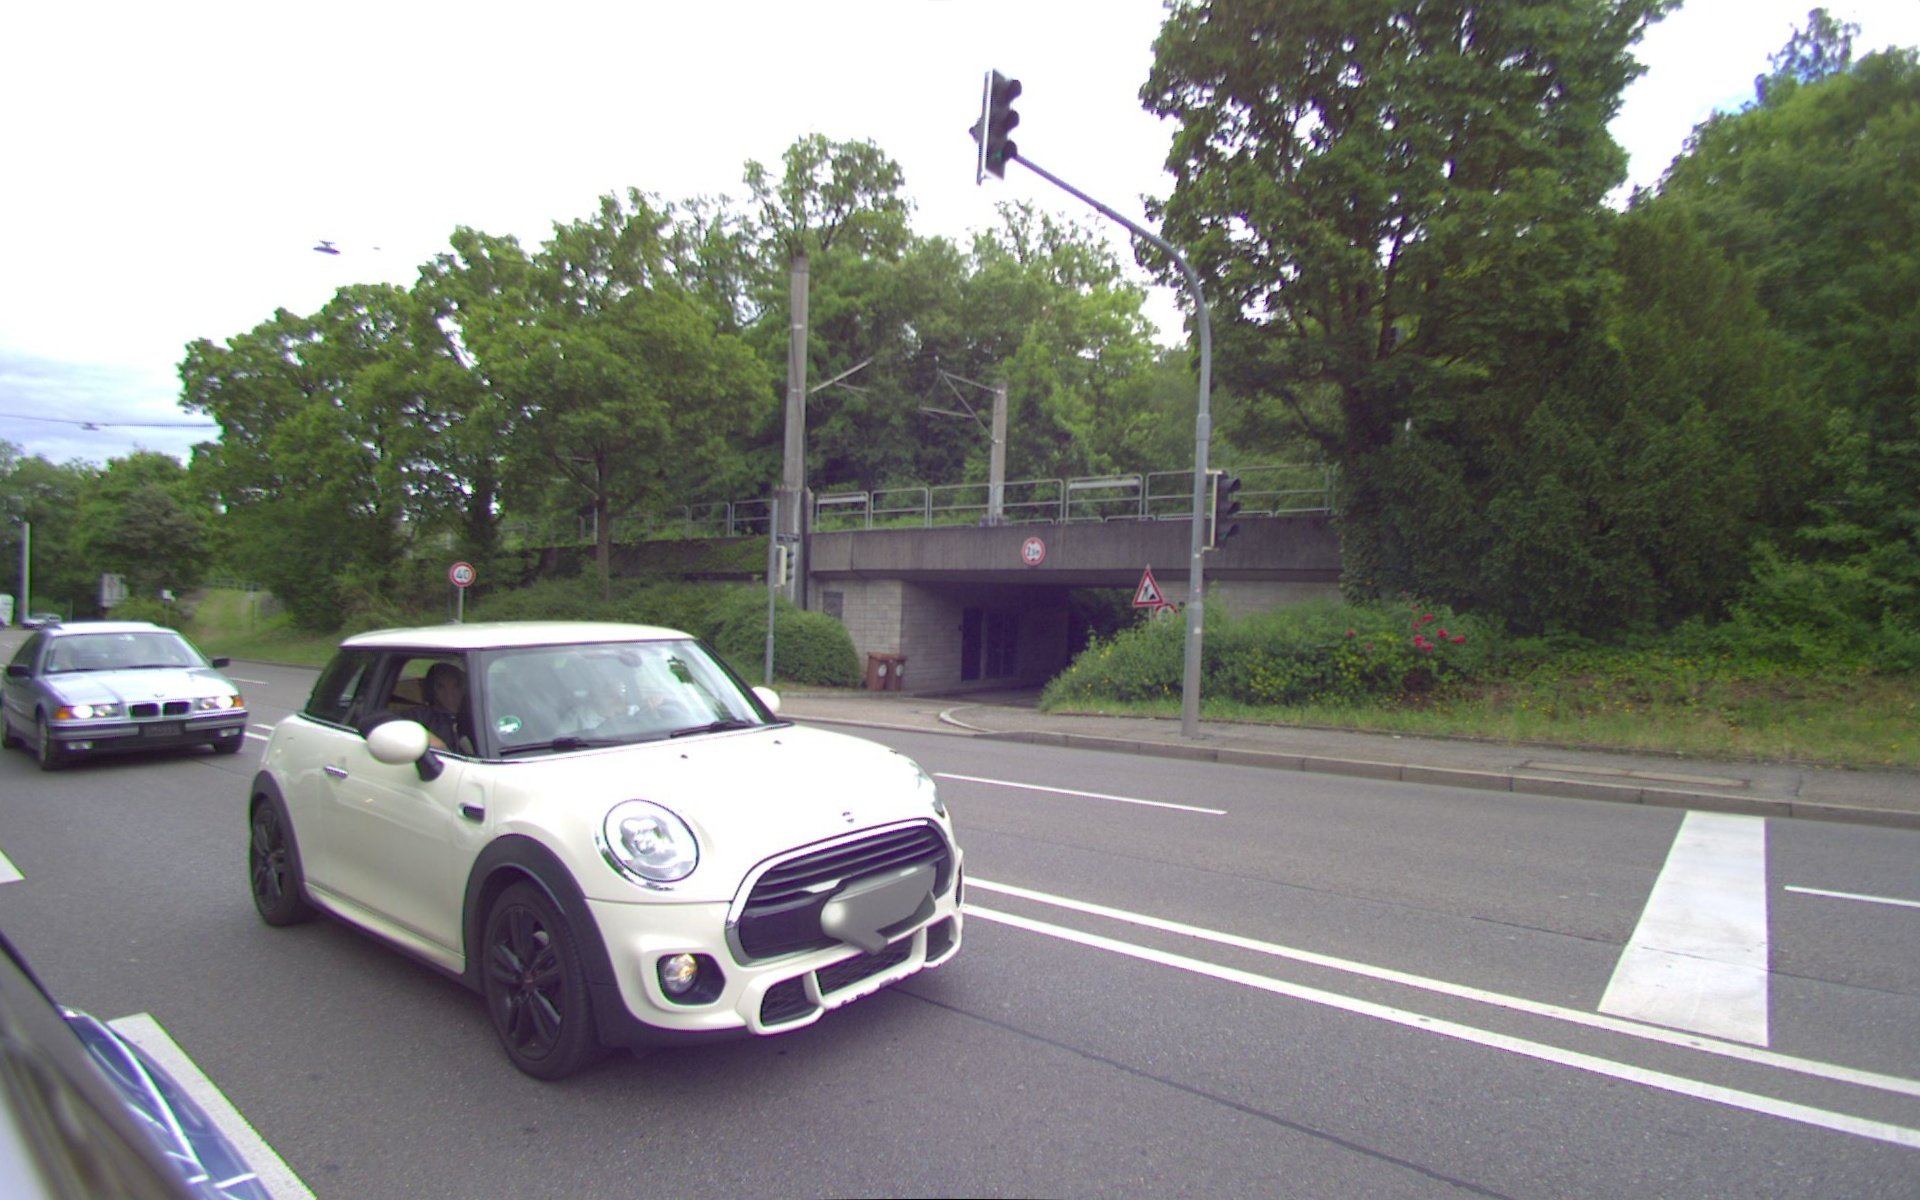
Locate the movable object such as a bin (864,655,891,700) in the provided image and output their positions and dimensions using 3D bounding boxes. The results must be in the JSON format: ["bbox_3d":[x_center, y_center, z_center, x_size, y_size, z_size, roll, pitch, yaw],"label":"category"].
[{"bbox_3d":[-2.023,1.889,24.853,0.503,1.071,0.414,-1,-3,36],"label":"movable object such as a bin"}]

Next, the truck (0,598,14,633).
[{"bbox_3d":[-87.130,1.274,89.533,2.164,3.180,6.670,2,-3,-17],"label":"truck"}]

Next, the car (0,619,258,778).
[{"bbox_3d":[-9.276,0.924,11.004,4.179,1.401,1.643,-1,-1,40],"label":"car"}]

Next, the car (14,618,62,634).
[{"bbox_3d":[-89.750,2.512,98.594,1.727,1.372,4.021,4,-4,-16],"label":"car"}]

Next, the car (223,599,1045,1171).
[{"bbox_3d":[-1.638,0.747,4.393,3.729,1.434,1.667,-1,-1,40],"label":"car"}]

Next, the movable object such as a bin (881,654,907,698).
[{"bbox_3d":[-1.655,1.911,25.429,0.503,1.071,0.414,-1,-3,36],"label":"movable object such as a bin"}]
